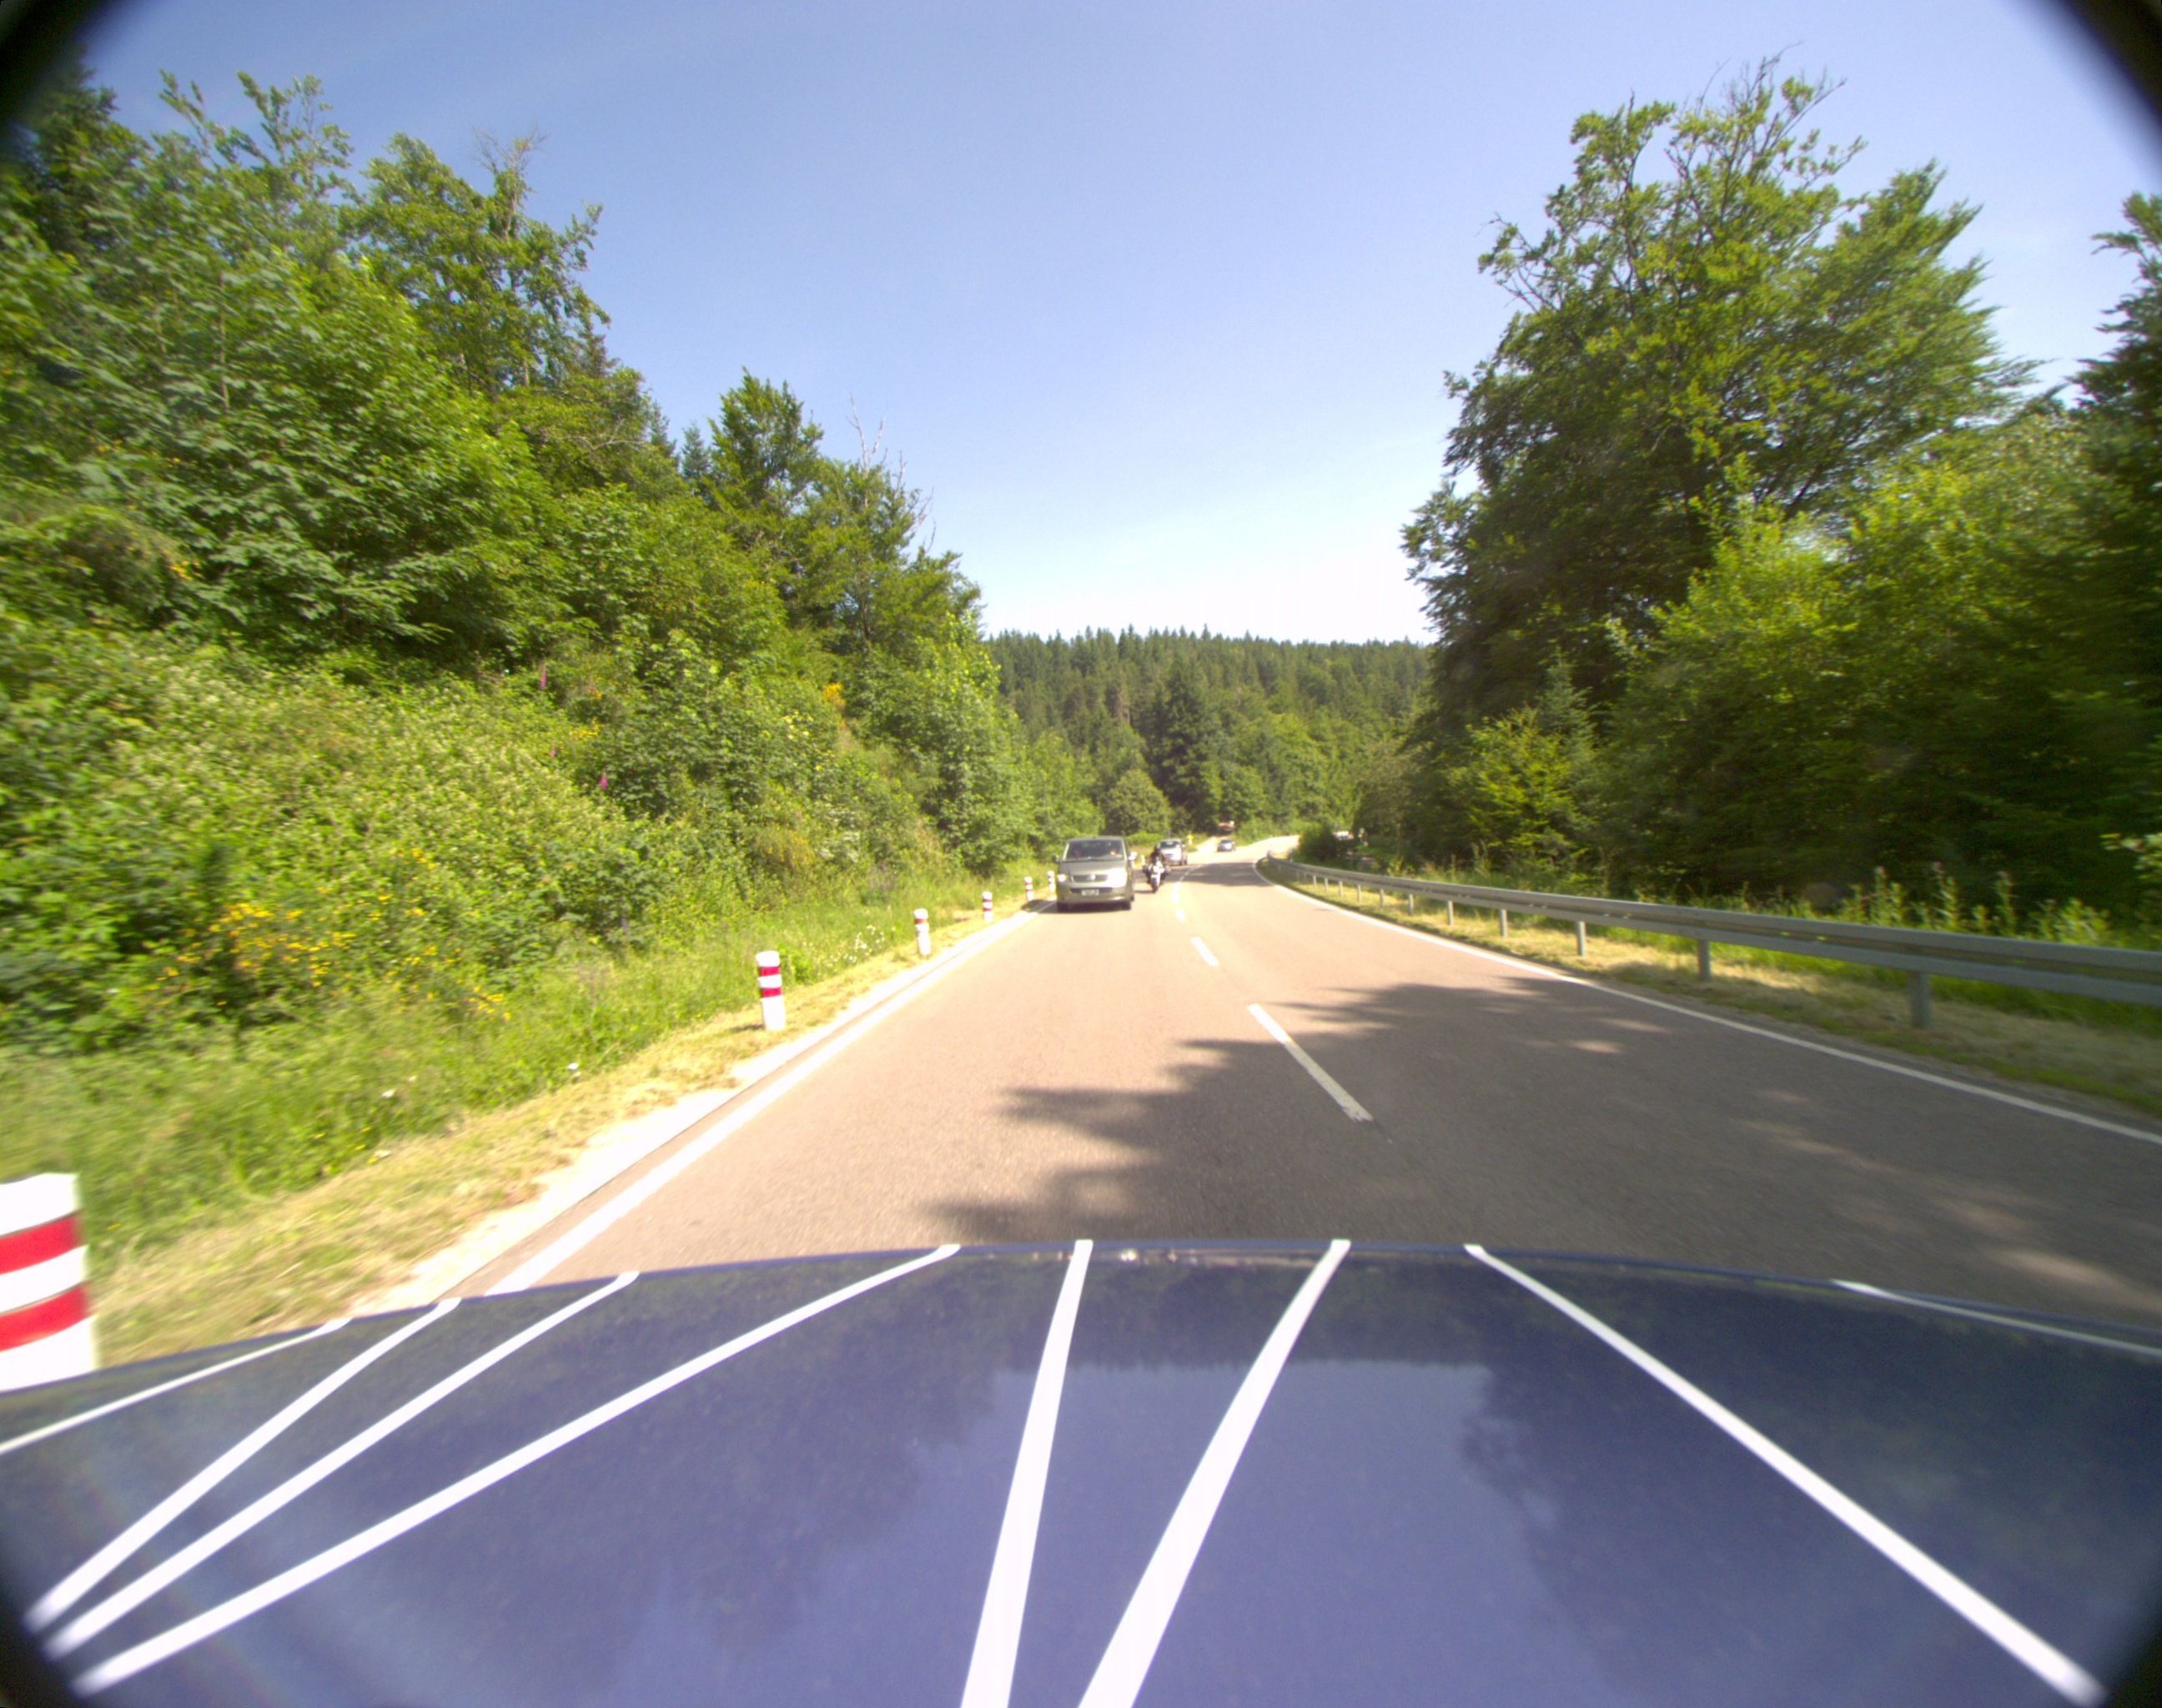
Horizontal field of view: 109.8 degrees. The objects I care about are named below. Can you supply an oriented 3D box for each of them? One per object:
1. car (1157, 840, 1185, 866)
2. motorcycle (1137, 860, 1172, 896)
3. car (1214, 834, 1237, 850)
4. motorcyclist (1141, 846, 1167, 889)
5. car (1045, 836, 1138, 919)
[{"bbox_3d":[6.441,-0.097,54.069,1.651,1.749,3.797,-1,1,11],"label":"car"},{"bbox_3d":[2.541,0.808,26.094,1.109,1.117,1.961,-2,1,7],"label":"motorcycle"},{"bbox_3d":[16.540,-1.395,86.809,1.996,1.634,4.004,-3,1,18],"label":"car"},{"bbox_3d":[2.497,0.450,25.910,0.716,1.422,1.000,-4,1,9],"label":"motorcyclist"},{"bbox_3d":[0.433,0.539,20.821,2.028,1.940,4.900,-2,1,6],"label":"car"}]
